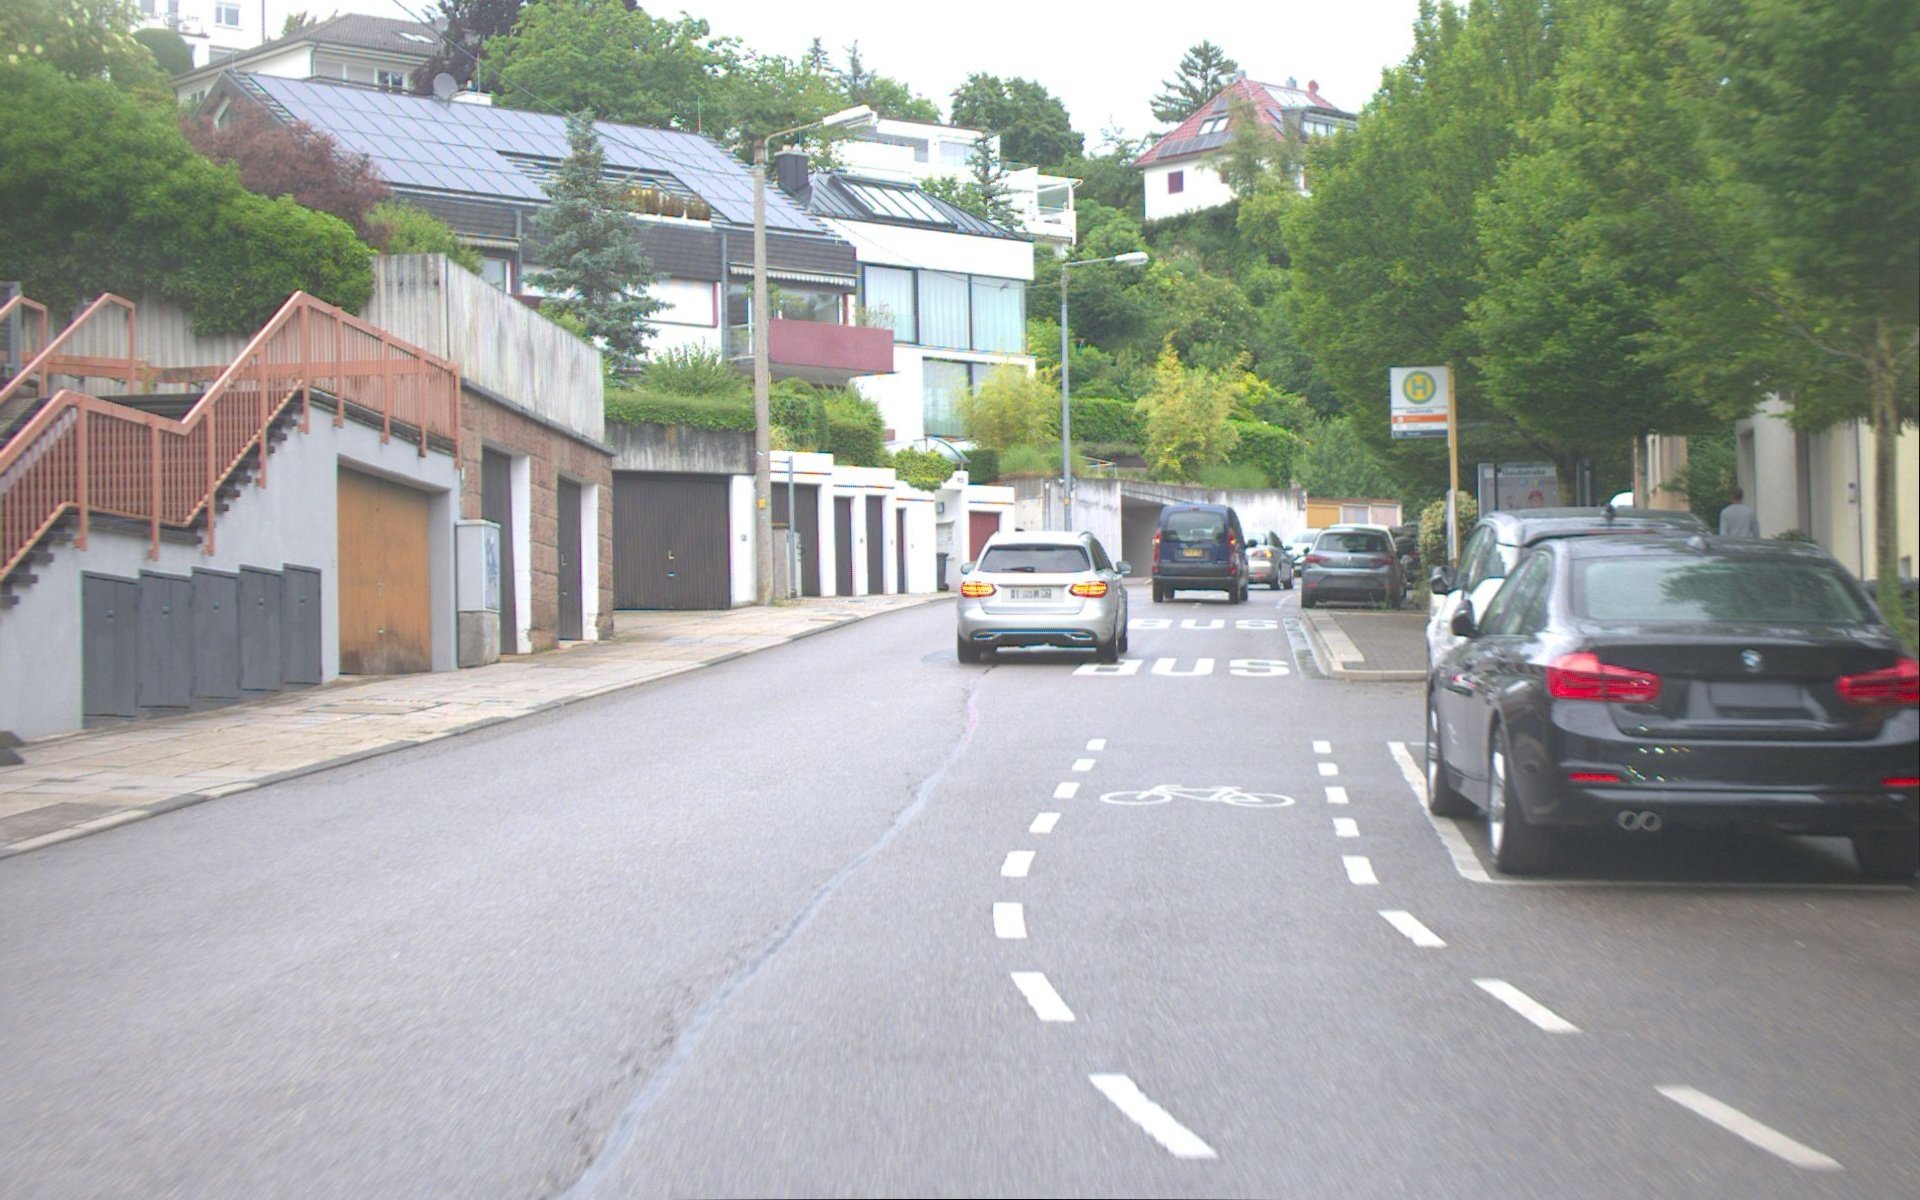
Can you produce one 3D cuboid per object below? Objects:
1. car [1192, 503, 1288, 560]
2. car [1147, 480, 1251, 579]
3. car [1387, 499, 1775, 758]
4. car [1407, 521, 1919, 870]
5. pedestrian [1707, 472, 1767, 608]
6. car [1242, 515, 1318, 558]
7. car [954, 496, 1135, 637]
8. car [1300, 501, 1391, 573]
[{"bbox_3d":[6.508,-1.593,79.652,1.825,1.292,3.998,0,1,10],"label":"car"},{"bbox_3d":[4.538,-1.329,64.877,1.824,1.813,3.999,0,1,6],"label":"car"},{"bbox_3d":[3.698,0.120,21.078,1.715,1.445,3.833,0,1,0],"label":"car"},{"bbox_3d":[3.163,0.329,15.715,1.771,1.373,4.349,0,1,1],"label":"car"},{"bbox_3d":[10.273,-0.795,45.481,0.638,1.789,0.744,0,1,2],"label":"pedestrian"},{"bbox_3d":[9.829,-1.939,105.394,1.825,1.292,3.998,0,1,13],"label":"car"},{"bbox_3d":[1.011,-0.417,38.957,1.811,1.356,4.000,2,3,4],"label":"car"},{"bbox_3d":[6.914,-1.141,61.528,1.469,1.250,3.581,0,1,9],"label":"car"}]
